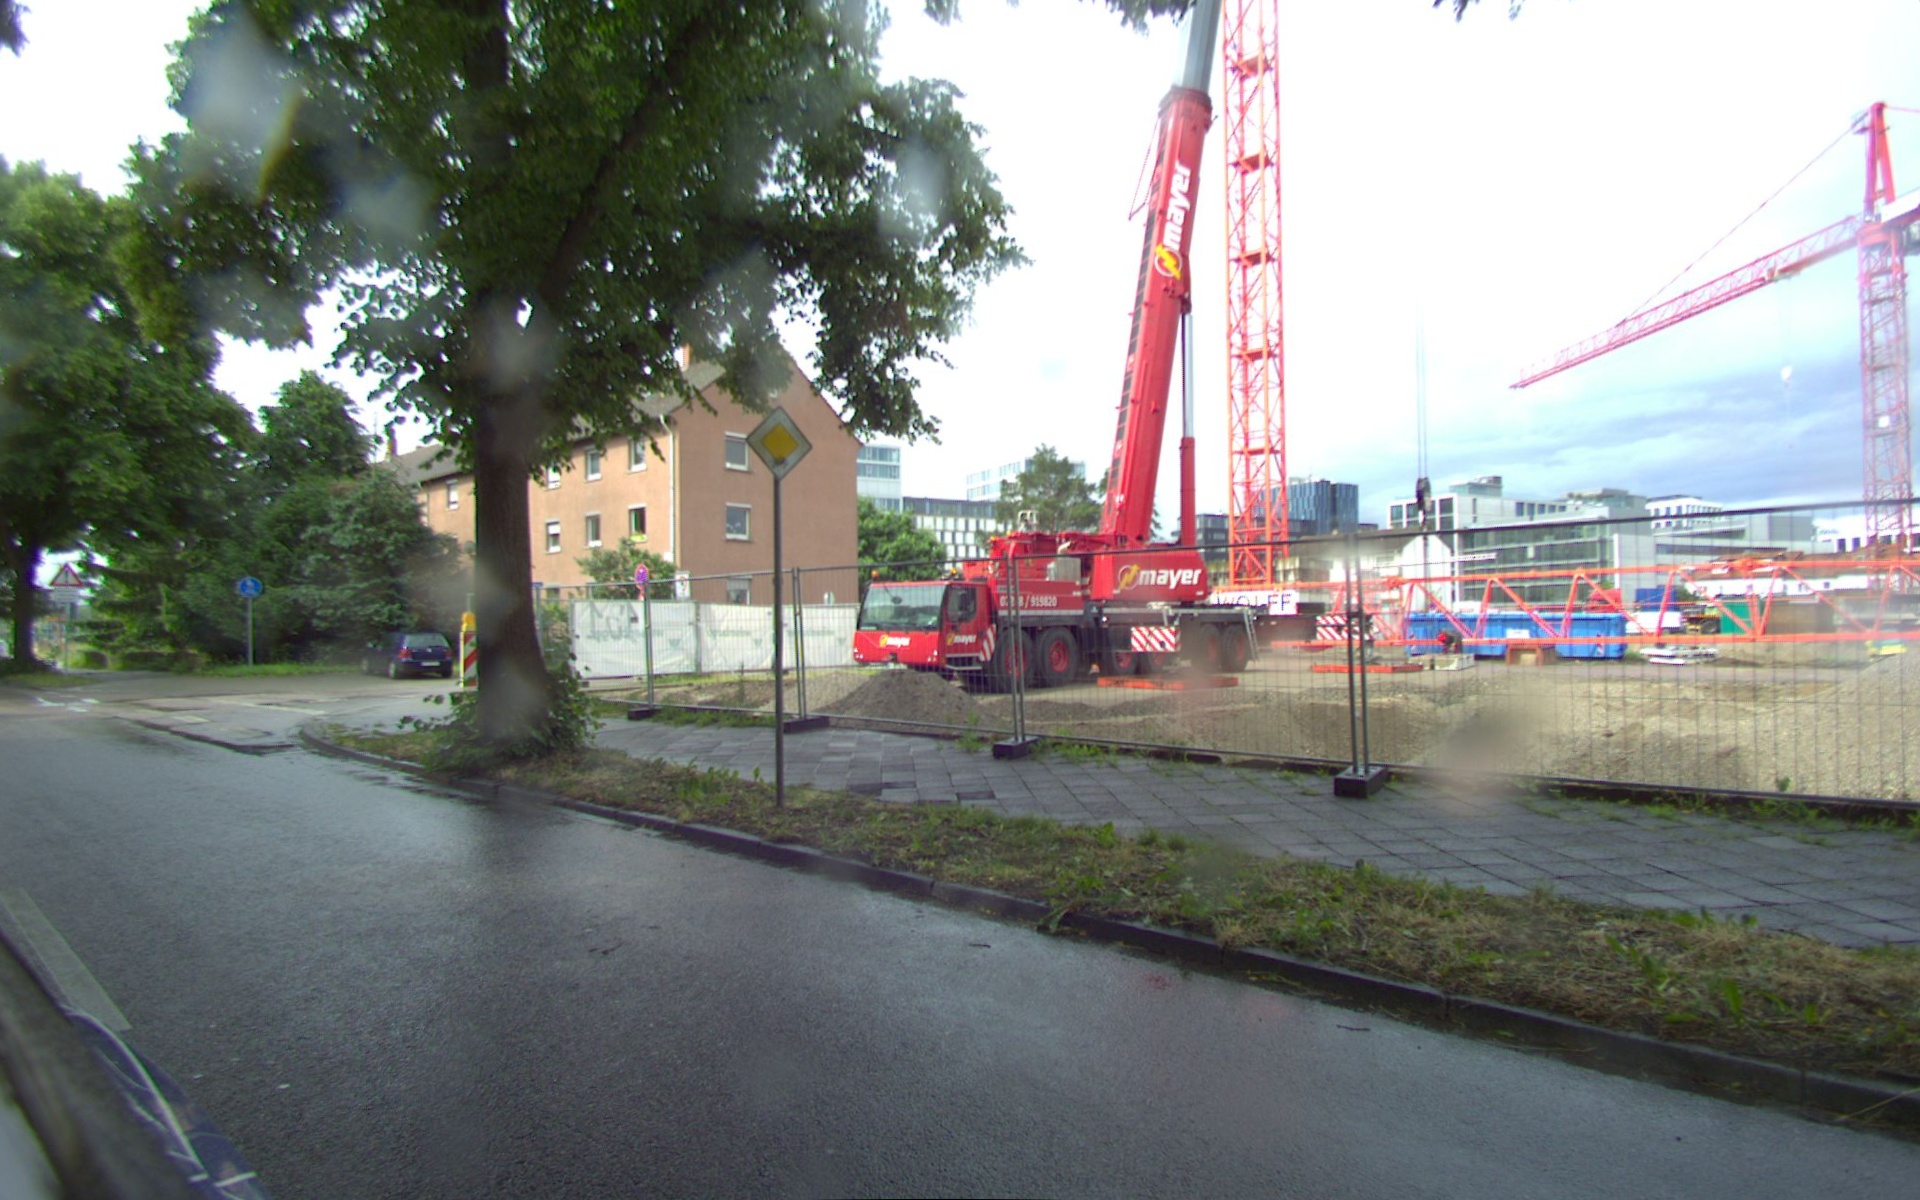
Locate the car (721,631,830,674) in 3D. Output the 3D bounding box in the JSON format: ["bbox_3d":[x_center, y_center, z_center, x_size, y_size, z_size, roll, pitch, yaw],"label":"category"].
[{"bbox_3d":[-6.686,1.892,37.014,1.722,1.424,4.024,-2,-2,31],"label":"car"}]

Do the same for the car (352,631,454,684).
[{"bbox_3d":[-17.442,1.747,31.623,3.869,1.431,1.607,0,1,42],"label":"car"}]

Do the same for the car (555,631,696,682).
[{"bbox_3d":[-10.685,1.777,32.499,1.726,1.485,4.013,-2,-2,39],"label":"car"}]

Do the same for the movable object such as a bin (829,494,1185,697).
[{"bbox_3d":[1.589,-0.034,25.341,3.366,4.147,9.704,-3,-2,43],"label":"movable object such as a bin"}]

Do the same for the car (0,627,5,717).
[{"bbox_3d":[-16.897,1.200,15.626,1.708,1.545,3.627,0,-2,-18],"label":"car"}]
